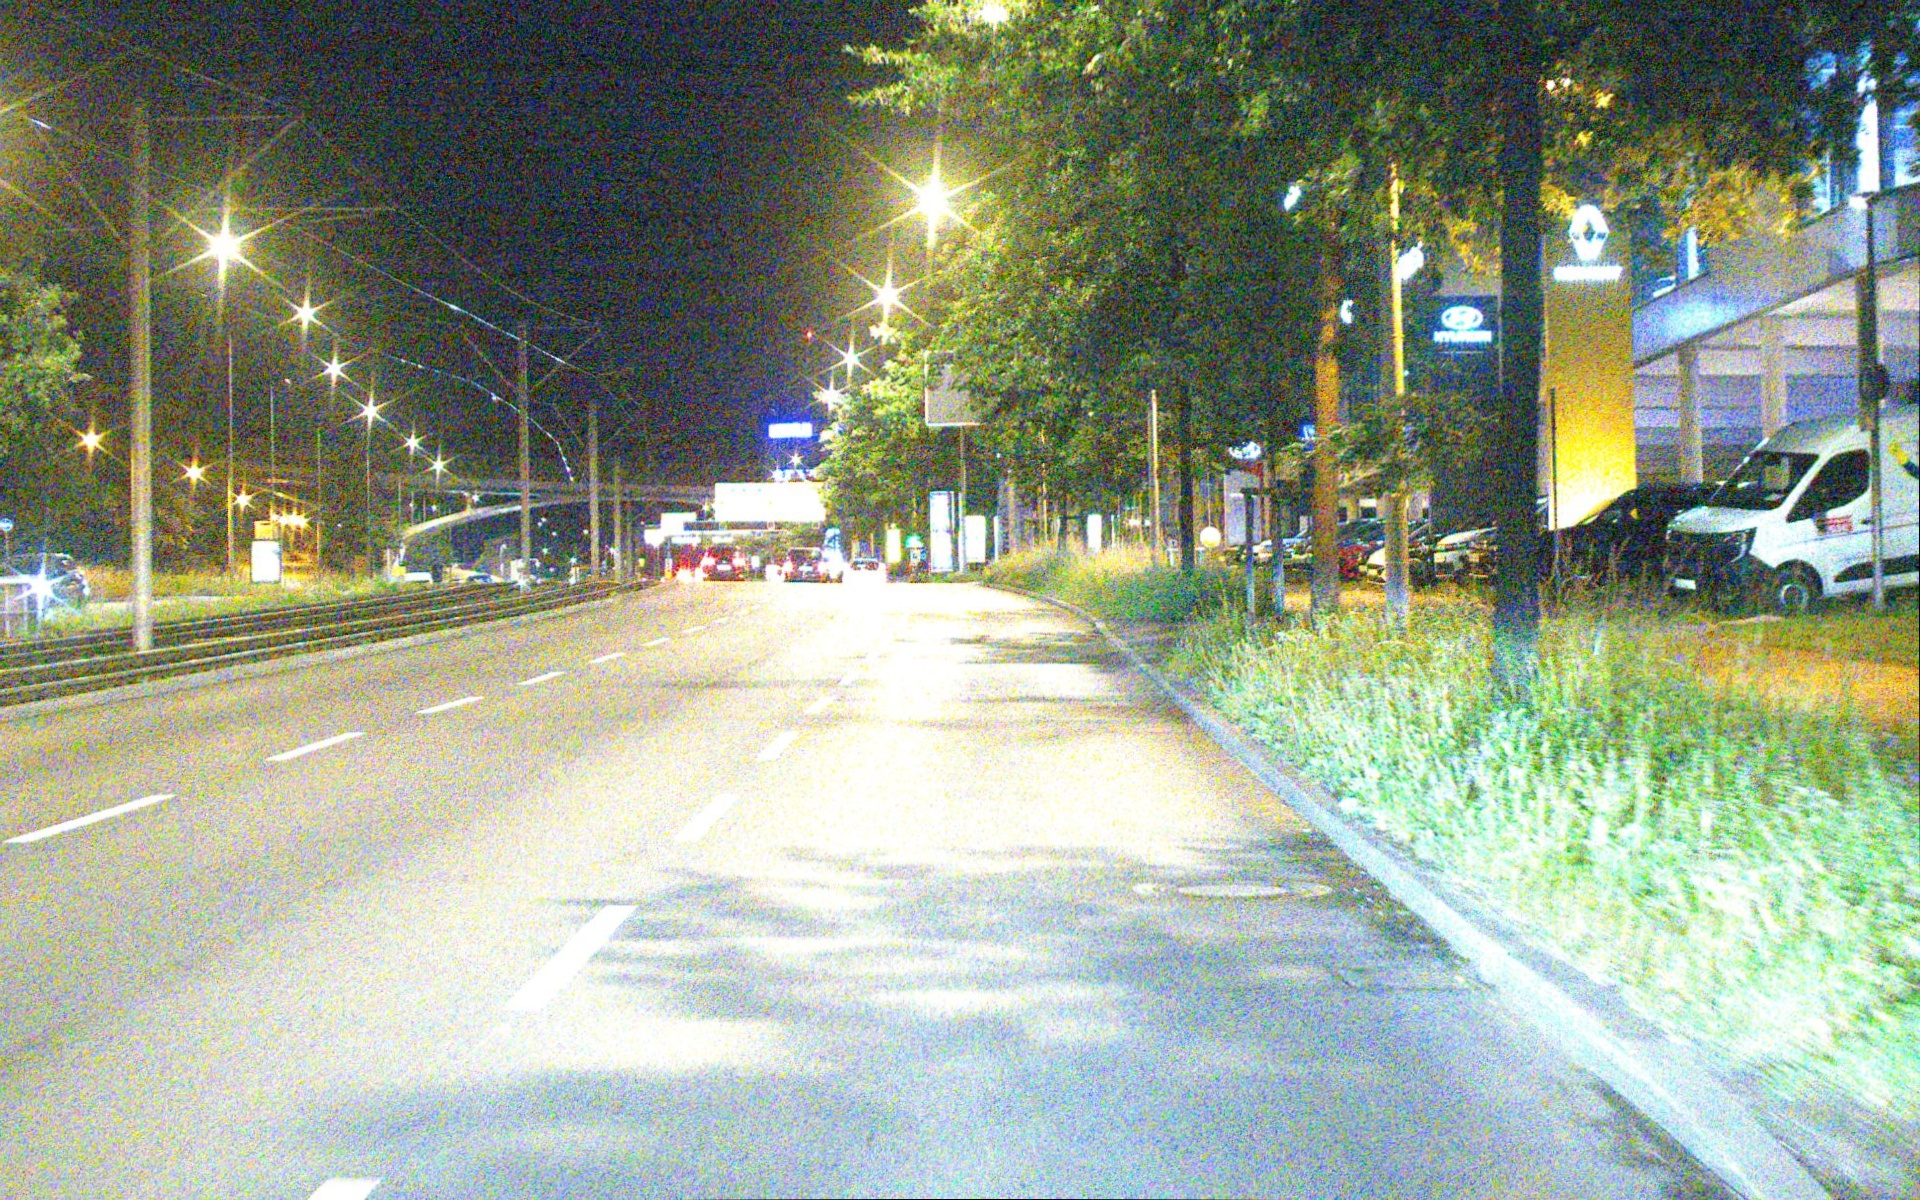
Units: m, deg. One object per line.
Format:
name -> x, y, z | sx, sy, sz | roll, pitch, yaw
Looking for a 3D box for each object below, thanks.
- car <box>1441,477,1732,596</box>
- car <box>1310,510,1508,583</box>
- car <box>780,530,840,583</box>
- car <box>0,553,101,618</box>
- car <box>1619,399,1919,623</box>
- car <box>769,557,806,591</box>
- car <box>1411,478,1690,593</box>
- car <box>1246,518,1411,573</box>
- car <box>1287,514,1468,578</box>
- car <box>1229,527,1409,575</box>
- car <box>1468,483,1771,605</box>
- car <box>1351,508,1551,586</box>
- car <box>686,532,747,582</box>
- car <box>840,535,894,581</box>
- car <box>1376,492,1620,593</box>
car -> 10.827, -1.110, 59.525 | 4.459, 1.804, 2.001 | -3, 1, -11
car -> 10.320, -1.232, 79.054 | 4.022, 1.369, 1.826 | -5, 2, -16
car -> -6.177, -1.787, 141.768 | 2.356, 2.122, 4.826 | 0, 0, -1
car -> -21.578, -0.349, 80.994 | 1.660, 1.511, 3.910 | 0, 0, 1
car -> 11.905, -1.281, 44.632 | 6.015, 2.520, 2.284 | -6, 2, -17
car -> -9.284, -1.399, 185.171 | 1.887, 1.853, 4.000 | 0, 0, -1
car -> 10.677, -1.171, 62.285 | 4.459, 1.681, 2.001 | -5, 2, -11
car -> 9.927, -1.471, 92.614 | 3.986, 1.419, 1.910 | -1, 2, -18
car -> 10.264, -1.335, 84.518 | 3.986, 1.387, 1.827 | -3, 2, -23
car -> 9.951, -1.375, 95.338 | 4.628, 1.260, 1.948 | -1, 2, -25
car -> 10.422, -0.892, 54.436 | 4.201, 1.657, 1.962 | -3, 1, -11
car -> 10.541, -1.147, 73.859 | 3.801, 1.448, 1.718 | -4, 2, -14
car -> -9.909, -1.731, 140.398 | 2.262, 2.007, 4.826 | 0, 0, -1
car -> -4.270, -1.930, 158.279 | 2.427, 2.106, 4.826 | 0, 0, -1
car -> 10.181, -1.100, 65.210 | 4.079, 1.563, 1.855 | -5, 2, -11
